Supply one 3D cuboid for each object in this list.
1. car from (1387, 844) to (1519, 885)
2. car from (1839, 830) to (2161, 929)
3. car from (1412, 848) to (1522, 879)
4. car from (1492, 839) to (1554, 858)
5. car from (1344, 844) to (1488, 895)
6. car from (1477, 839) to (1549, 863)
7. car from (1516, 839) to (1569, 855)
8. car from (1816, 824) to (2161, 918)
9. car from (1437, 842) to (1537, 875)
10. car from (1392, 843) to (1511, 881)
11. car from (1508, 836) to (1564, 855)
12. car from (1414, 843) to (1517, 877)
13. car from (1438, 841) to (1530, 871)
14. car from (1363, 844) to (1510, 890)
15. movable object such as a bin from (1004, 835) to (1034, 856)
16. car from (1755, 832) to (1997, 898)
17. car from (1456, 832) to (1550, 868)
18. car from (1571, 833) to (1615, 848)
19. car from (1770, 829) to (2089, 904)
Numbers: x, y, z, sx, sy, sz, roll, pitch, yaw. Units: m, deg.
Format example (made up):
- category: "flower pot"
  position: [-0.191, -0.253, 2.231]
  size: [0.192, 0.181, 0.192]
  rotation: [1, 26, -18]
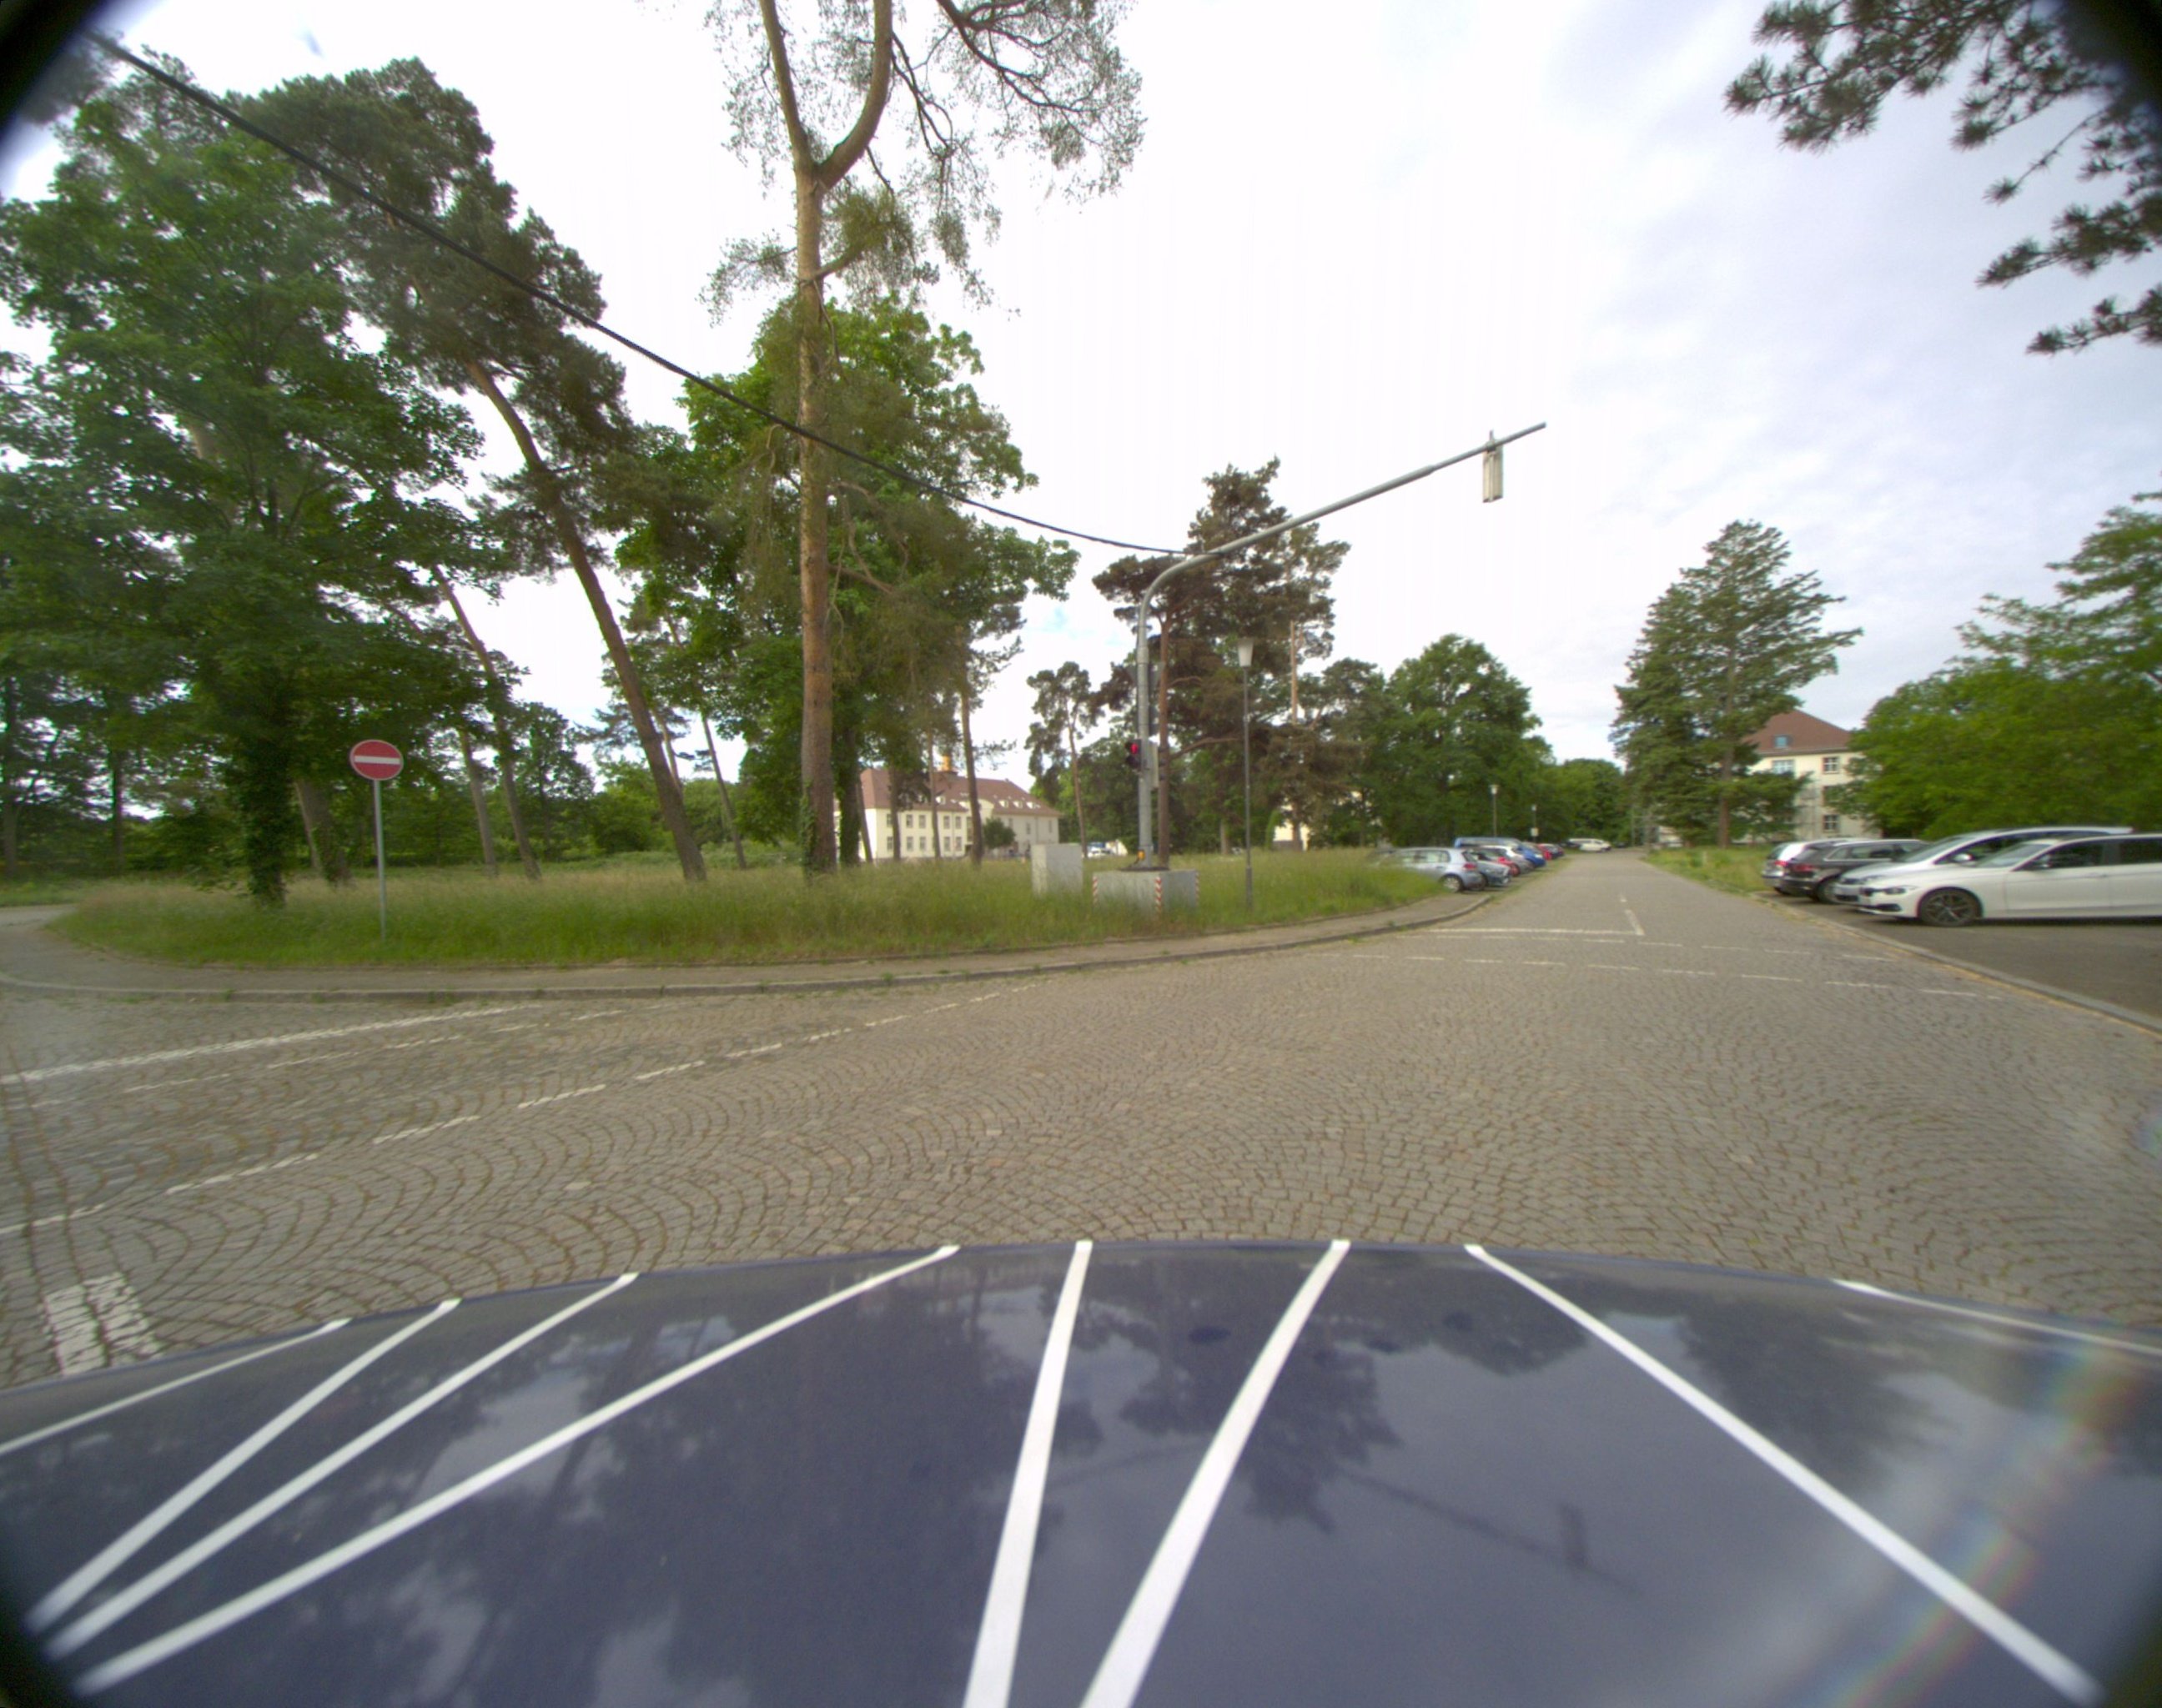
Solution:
- category: "car"
  position: [14.080, 0.343, 28.889]
  size: [4.238, 1.465, 1.720]
  rotation: [1, 2, 37]
- category: "car"
  position: [16.113, 0.411, 12.550]
  size: [4.742, 1.479, 1.870]
  rotation: [-3, -1, 32]
- category: "car"
  position: [16.614, 0.391, 32.822]
  size: [4.042, 1.233, 1.552]
  rotation: [1, 2, 35]
- category: "car"
  position: [35.062, -0.439, 60.309]
  size: [4.075, 1.436, 1.730]
  rotation: [1, 2, 36]
- category: "car"
  position: [10.803, 0.428, 24.611]
  size: [4.001, 1.421, 1.701]
  rotation: [2, 3, 33]
- category: "car"
  position: [29.348, -0.241, 51.697]
  size: [4.075, 1.584, 1.657]
  rotation: [1, 2, 37]
- category: "car"
  position: [43.970, -0.674, 72.468]
  size: [4.084, 1.524, 1.730]
  rotation: [1, 2, 42]
- category: "car"
  position: [17.506, 0.343, 14.695]
  size: [4.366, 1.588, 1.876]
  rotation: [-3, 0, 29]
- category: "car"
  position: [19.880, 0.193, 37.251]
  size: [4.088, 1.508, 1.703]
  rotation: [1, 2, 37]
- category: "car"
  position: [15.155, 0.290, 31.163]
  size: [4.174, 1.473, 1.720]
  rotation: [1, 2, 35]
- category: "car"
  position: [41.141, -0.765, 68.707]
  size: [4.075, 1.685, 1.730]
  rotation: [1, 2, 42]
- category: "car"
  position: [17.804, 0.243, 35.244]
  size: [4.041, 1.508, 1.603]
  rotation: [1, 2, 37]
- category: "car"
  position: [21.142, 0.066, 39.935]
  size: [4.041, 1.508, 1.603]
  rotation: [1, 2, 37]
- category: "car"
  position: [12.434, 0.389, 26.684]
  size: [4.429, 1.376, 1.667]
  rotation: [2, 3, 33]
- category: "movable object such as a bin"
  position: [-11.448, -1.556, 140.295]
  size: [5.448, 3.748, 2.057]
  rotation: [-2, 1, 38]
- category: "car"
  position: [20.047, 0.298, 19.415]
  size: [3.952, 1.461, 1.588]
  rotation: [-4, 0, 32]
- category: "car"
  position: [24.509, -0.269, 44.196]
  size: [4.592, 1.995, 1.915]
  rotation: [1, 2, 37]
- category: "car"
  position: [74.483, -2.021, 110.637]
  size: [5.137, 2.137, 1.778]
  rotation: [0, 2, 32]
- category: "car"
  position: [18.688, 0.319, 17.096]
  size: [4.438, 1.416, 1.725]
  rotation: [-4, 0, 33]
